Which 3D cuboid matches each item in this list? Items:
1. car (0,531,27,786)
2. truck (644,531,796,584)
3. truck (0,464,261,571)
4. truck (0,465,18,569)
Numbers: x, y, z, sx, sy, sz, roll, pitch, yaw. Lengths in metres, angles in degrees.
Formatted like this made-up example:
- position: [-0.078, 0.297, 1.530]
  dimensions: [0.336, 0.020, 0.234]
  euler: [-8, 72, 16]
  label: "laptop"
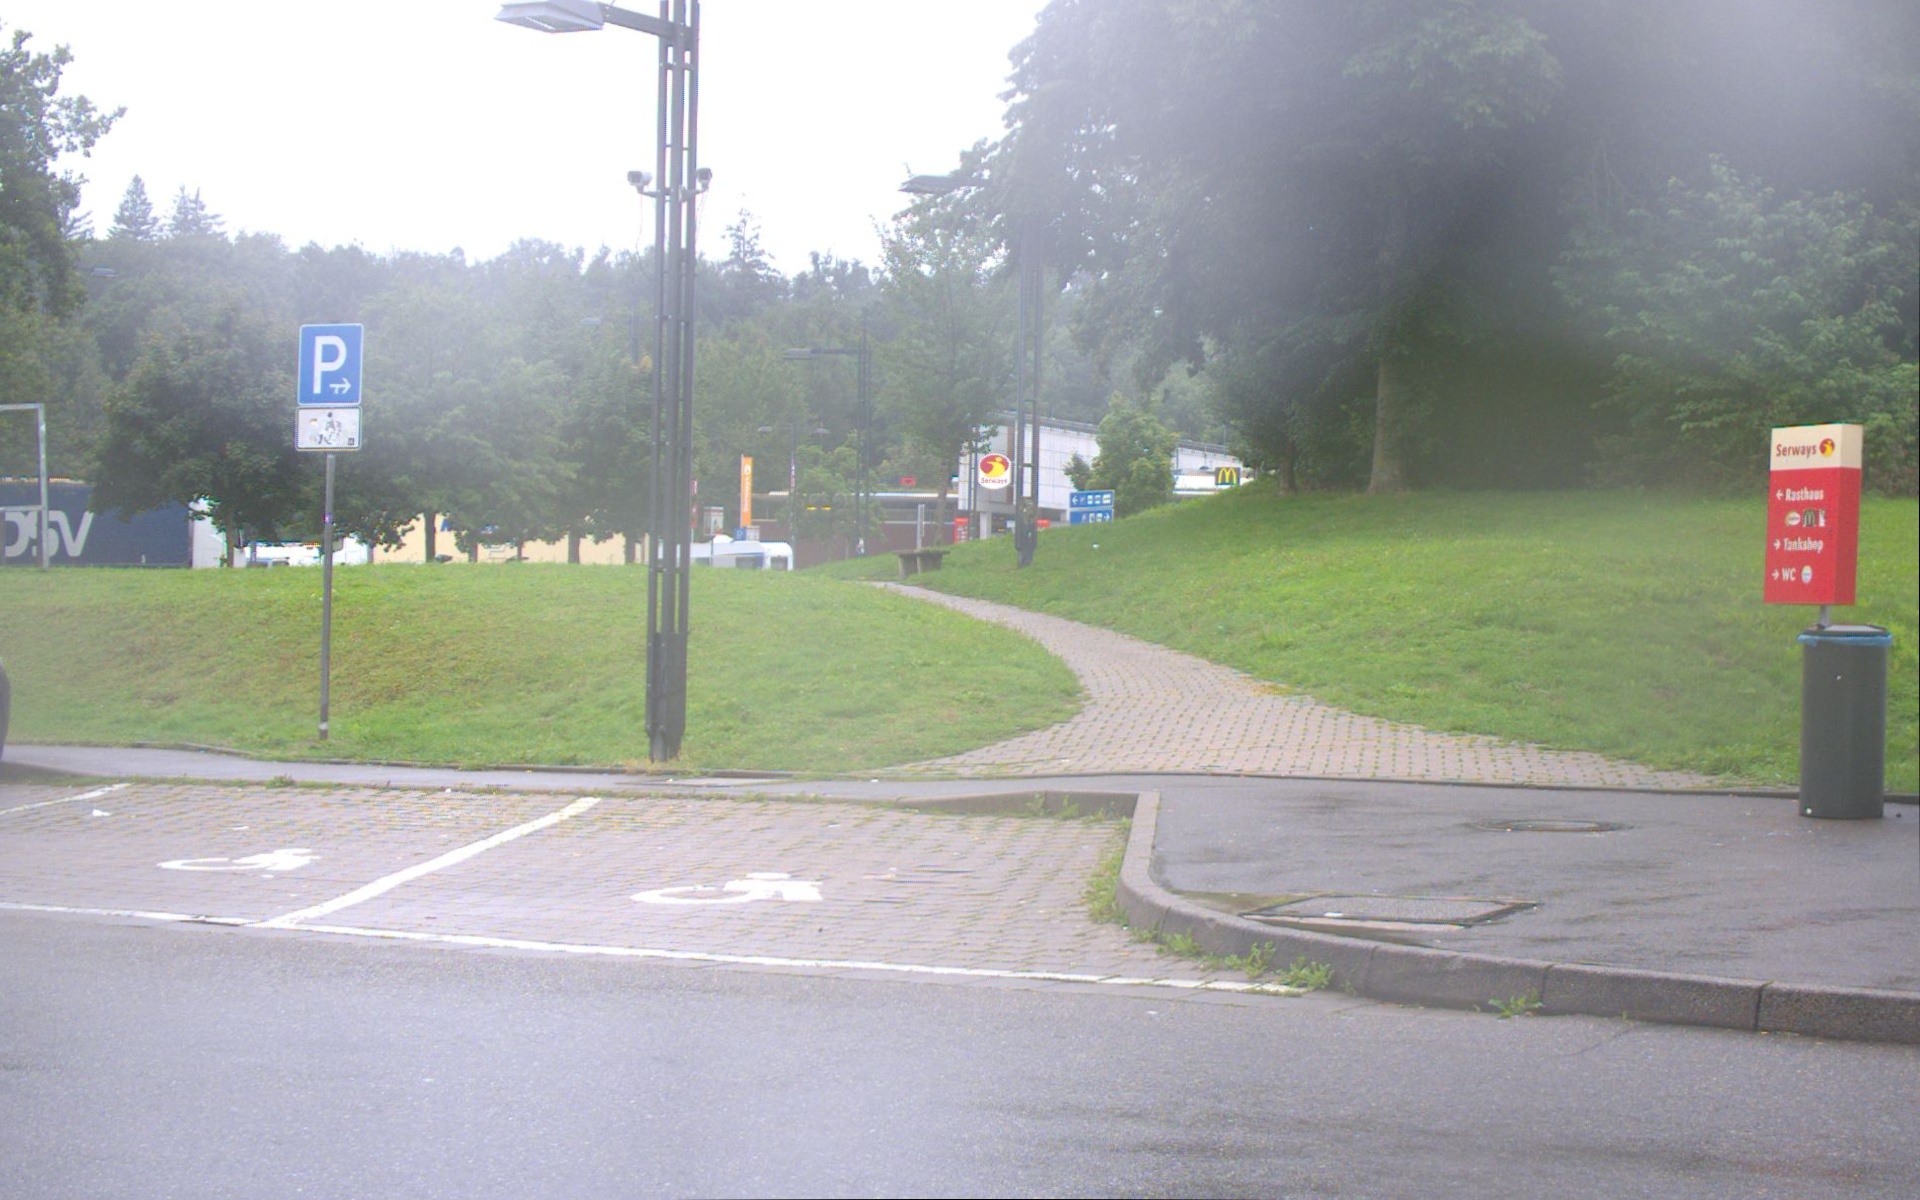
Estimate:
- position: [-7.794, 0.456, 21.484]
  dimensions: [2.018, 1.705, 4.341]
  euler: [-1, 1, 12]
  label: "car"
- position: [-9.324, -1.660, 133.799]
  dimensions: [5.413, 2.007, 2.364]
  euler: [1, 1, 25]
  label: "truck"
- position: [-25.460, -2.363, 101.621]
  dimensions: [2.188, 2.910, 13.082]
  euler: [1, 1, 24]
  label: "truck"
- position: [-28.598, -2.338, 94.651]
  dimensions: [2.189, 2.910, 5.380]
  euler: [1, 1, 24]
  label: "truck"
